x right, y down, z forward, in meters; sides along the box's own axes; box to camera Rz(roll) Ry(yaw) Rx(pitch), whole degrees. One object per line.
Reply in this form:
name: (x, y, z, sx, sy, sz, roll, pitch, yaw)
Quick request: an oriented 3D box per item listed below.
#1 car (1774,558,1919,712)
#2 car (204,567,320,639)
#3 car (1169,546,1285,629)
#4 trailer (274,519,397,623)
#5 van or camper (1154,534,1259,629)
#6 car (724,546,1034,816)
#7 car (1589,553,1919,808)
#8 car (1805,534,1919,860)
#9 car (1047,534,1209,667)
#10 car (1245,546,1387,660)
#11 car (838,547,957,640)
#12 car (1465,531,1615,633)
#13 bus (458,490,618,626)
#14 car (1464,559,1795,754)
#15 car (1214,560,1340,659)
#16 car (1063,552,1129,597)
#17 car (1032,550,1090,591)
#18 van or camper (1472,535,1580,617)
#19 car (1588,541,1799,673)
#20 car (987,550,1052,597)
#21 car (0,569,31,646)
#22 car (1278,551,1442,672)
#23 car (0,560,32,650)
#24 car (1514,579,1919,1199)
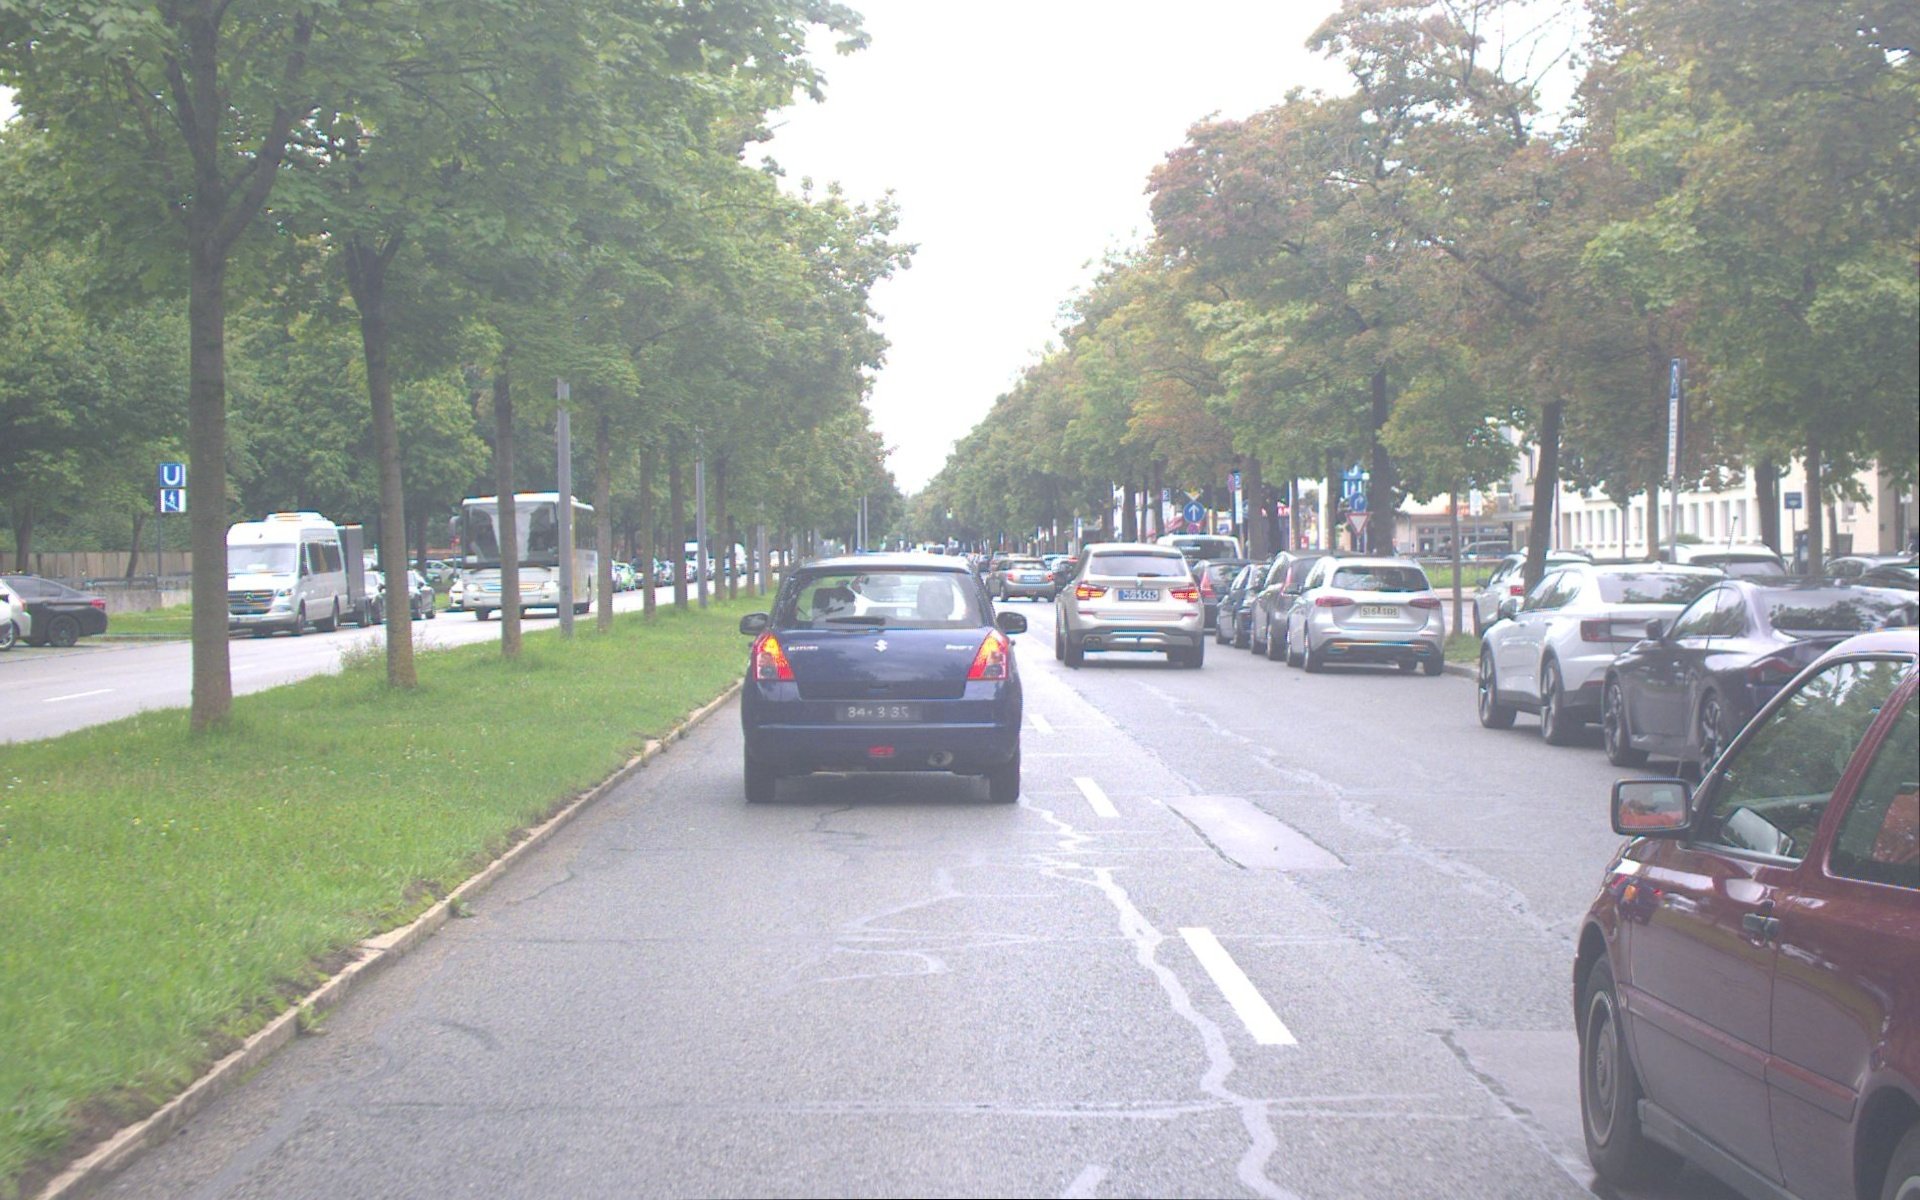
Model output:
car: (9.683, 0.303, 35.161, 1.684, 1.449, 4.734, 0, 1, 1)
car: (-15.792, 0.040, 77.966, 1.913, 1.537, 4.188, -1, 1, -2)
car: (5.181, -0.263, 67.091, 1.684, 1.548, 4.307, -1, 1, -3)
trailer: (-15.830, -0.757, 87.372, 2.106, 2.532, 5.577, -1, 1, 0)
van or camper: (5.260, -0.426, 73.895, 1.944, 1.968, 4.306, 0, 1, 0)
car: (-0.544, 0.440, 21.976, 1.789, 1.550, 4.000, -1, 1, -2)
car: (5.548, 0.457, 23.090, 1.764, 1.541, 4.424, 0, 1, -1)
car: (5.724, 0.487, 17.365, 1.764, 1.646, 4.424, 0, 1, -1)
car: (2.259, -0.024, 47.138, 1.850, 1.737, 4.098, -1, 1, -2)
car: (5.313, 0.005, 51.773, 1.684, 1.620, 4.306, 1, 1, 0)
car: (-1.060, -0.128, 56.046, 1.850, 1.442, 4.098, -1, 1, -2)
car: (9.369, -0.312, 55.793, 1.684, 1.580, 4.028, 0, 1, -1)
bus: (-11.358, -1.165, 93.724, 2.738, 3.366, 12.013, -2, 1, 0)
car: (5.506, 0.410, 28.816, 1.706, 1.449, 4.512, 1, 1, -2)
car: (5.214, 0.120, 56.937, 1.684, 1.548, 4.306, 0, 1, 0)
car: (4.410, -0.840, 112.004, 1.850, 1.442, 4.098, -1, 1, -2)
car: (3.674, -1.094, 125.848, 1.850, 1.442, 4.098, -1, 1, -2)
van or camper: (13.907, -0.605, 84.661, 1.944, 1.968, 4.306, 0, 1, 0)
car: (9.571, 0.056, 45.183, 1.684, 1.627, 4.780, 0, 1, -1)
car: (1.878, -0.864, 110.068, 1.850, 1.442, 4.098, -1, 1, -2)
car: (-20.129, 0.168, 65.860, 4.095, 1.469, 1.919, -1, 1, -34)
car: (5.330, 0.118, 46.303, 1.684, 1.520, 4.456, 1, 1, 0)
car: (-19.416, 0.122, 63.294, 4.095, 1.647, 1.919, -1, 1, -34)
car: (2.278, 0.703, 6.861, 1.622, 1.449, 3.950, 0, 1, -1)
